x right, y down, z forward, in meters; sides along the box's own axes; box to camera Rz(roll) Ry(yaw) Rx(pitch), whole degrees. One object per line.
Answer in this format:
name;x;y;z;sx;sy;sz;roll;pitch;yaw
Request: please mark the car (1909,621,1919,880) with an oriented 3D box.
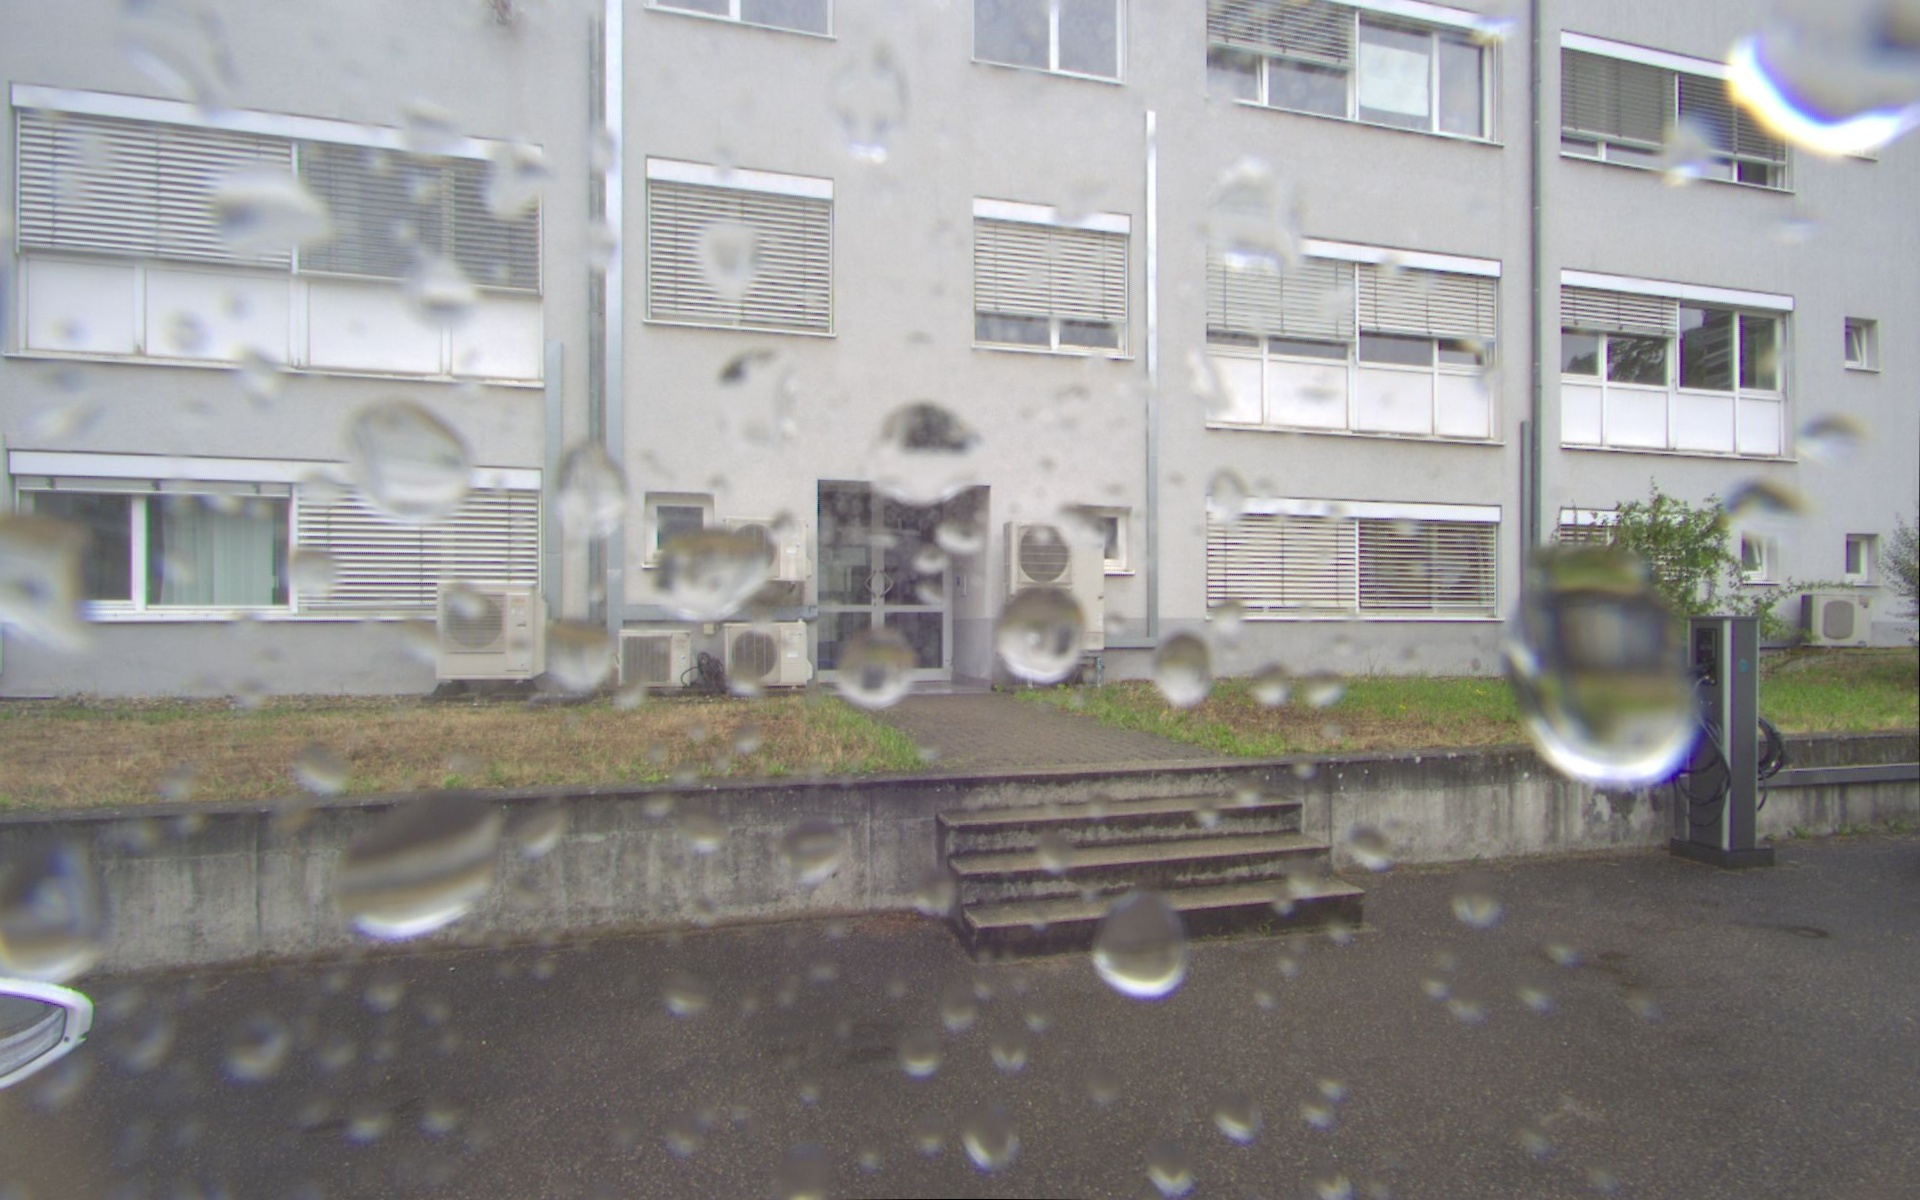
car;6.998;0.836;4.056;1.963;1.508;4.218;1;-2;-13
